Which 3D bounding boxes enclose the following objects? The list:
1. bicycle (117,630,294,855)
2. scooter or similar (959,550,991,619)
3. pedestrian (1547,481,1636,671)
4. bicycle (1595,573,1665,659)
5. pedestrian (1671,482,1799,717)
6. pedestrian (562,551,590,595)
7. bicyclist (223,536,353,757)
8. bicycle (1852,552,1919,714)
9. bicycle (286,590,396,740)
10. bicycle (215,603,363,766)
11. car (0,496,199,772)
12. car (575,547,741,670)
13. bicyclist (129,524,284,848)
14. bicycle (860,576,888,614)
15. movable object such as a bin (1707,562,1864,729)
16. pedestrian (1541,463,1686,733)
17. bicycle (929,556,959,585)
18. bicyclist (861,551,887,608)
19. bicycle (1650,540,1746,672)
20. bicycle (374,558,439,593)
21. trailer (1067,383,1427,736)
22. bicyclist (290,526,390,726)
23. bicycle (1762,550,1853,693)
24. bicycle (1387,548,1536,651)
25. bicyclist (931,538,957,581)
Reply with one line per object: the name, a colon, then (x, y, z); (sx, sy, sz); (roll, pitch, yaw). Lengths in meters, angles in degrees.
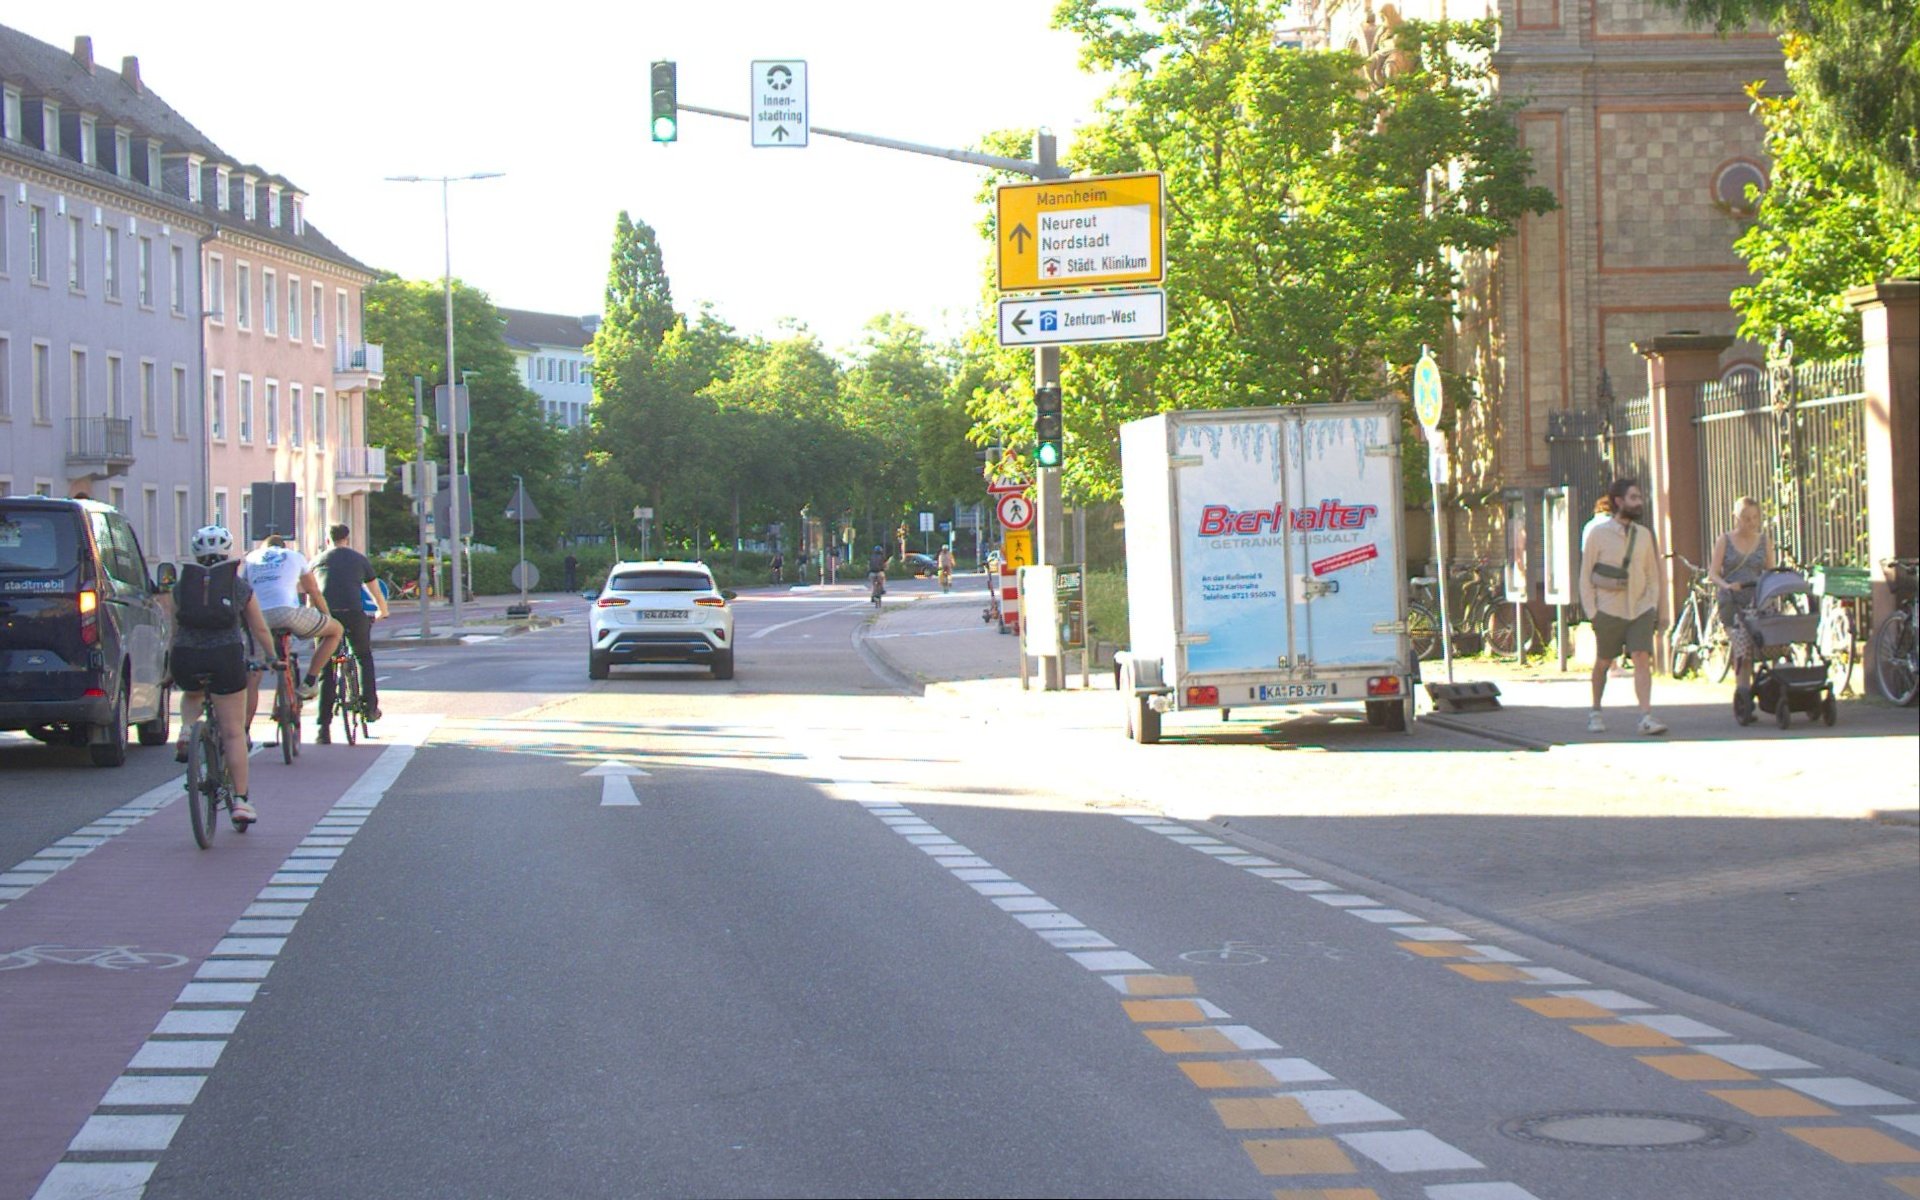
bicycle: (-3.932, 0.719, 18.023); (0.669, 1.069, 1.753); (-1, 1, -5)
scooter or similar: (0.296, -0.318, 67.200); (0.555, 1.304, 1.832); (-1, 1, 2)
pedestrian: (5.977, -0.229, 32.575); (0.639, 1.762, 0.738); (-2, 1, -3)
bicycle: (6.449, 0.146, 33.116); (0.264, 0.790, 1.451); (-2, 1, -5)
pedestrian: (5.749, -0.015, 25.529); (0.682, 1.695, 0.694); (-2, 1, -7)
pedestrian: (-16.184, -1.140, 144.900); (0.856, 1.845, 1.001); (-2, 1, 9)
bicyclist: (-5.020, 0.334, 25.714); (0.803, 1.602, 0.825); (-2, 1, -3)
bicycle: (6.908, 0.227, 24.517); (0.395, 1.126, 1.928); (-1, 1, -6)
bicycle: (-5.078, 0.513, 28.289); (0.642, 1.151, 2.077); (-1, 1, -3)
bicycle: (-5.012, 0.610, 25.795); (0.828, 1.139, 1.970); (-1, 1, -3)
car: (-7.217, 0.233, 26.519); (2.067, 1.909, 5.034); (-2, 1, -7)
car: (-3.917, 0.080, 44.330); (1.993, 1.448, 4.001); (-2, 1, -6)
bicyclist: (-3.931, 0.430, 17.995); (0.672, 1.646, 0.887); (-1, 1, -5)
bicycle: (-2.424, -0.142, 97.014); (0.643, 1.021, 2.212); (0, 1, 3)
movable object such as a bin: (5.899, 0.312, 24.617); (0.711, 1.113, 1.051); (-4, 2, -8)
pedestrian: (4.720, -0.027, 24.882); (0.715, 1.888, 0.890); (-3, 1, -8)
bicycle: (-0.569, -1.059, 123.930); (0.753, 1.022, 1.868); (0, 0, 10)
bicyclist: (-2.426, -0.581, 97.133); (0.636, 1.609, 1.284); (0, 1, 3)
bicycle: (6.522, 0.039, 30.432); (0.399, 1.102, 1.680); (-3, 1, -1)
bicycle: (-21.006, -0.932, 130.463); (2.320, 1.225, 0.560); (-1, 1, 9)
trailer: (2.221, -0.349, 27.901); (2.079, 2.519, 4.493); (-3, 1, -4)
bicyclist: (-5.081, 0.202, 28.221); (0.670, 1.602, 0.825); (-2, 1, -3)
bicycle: (6.821, 0.158, 27.722); (0.274, 1.102, 1.532); (-3, 1, -1)
bicycle: (5.345, -0.009, 36.647); (1.466, 1.035, 0.479); (-2, 1, -5)
bicyclist: (-0.575, -1.451, 123.941); (0.747, 1.532, 0.969); (-1, 1, 10)
